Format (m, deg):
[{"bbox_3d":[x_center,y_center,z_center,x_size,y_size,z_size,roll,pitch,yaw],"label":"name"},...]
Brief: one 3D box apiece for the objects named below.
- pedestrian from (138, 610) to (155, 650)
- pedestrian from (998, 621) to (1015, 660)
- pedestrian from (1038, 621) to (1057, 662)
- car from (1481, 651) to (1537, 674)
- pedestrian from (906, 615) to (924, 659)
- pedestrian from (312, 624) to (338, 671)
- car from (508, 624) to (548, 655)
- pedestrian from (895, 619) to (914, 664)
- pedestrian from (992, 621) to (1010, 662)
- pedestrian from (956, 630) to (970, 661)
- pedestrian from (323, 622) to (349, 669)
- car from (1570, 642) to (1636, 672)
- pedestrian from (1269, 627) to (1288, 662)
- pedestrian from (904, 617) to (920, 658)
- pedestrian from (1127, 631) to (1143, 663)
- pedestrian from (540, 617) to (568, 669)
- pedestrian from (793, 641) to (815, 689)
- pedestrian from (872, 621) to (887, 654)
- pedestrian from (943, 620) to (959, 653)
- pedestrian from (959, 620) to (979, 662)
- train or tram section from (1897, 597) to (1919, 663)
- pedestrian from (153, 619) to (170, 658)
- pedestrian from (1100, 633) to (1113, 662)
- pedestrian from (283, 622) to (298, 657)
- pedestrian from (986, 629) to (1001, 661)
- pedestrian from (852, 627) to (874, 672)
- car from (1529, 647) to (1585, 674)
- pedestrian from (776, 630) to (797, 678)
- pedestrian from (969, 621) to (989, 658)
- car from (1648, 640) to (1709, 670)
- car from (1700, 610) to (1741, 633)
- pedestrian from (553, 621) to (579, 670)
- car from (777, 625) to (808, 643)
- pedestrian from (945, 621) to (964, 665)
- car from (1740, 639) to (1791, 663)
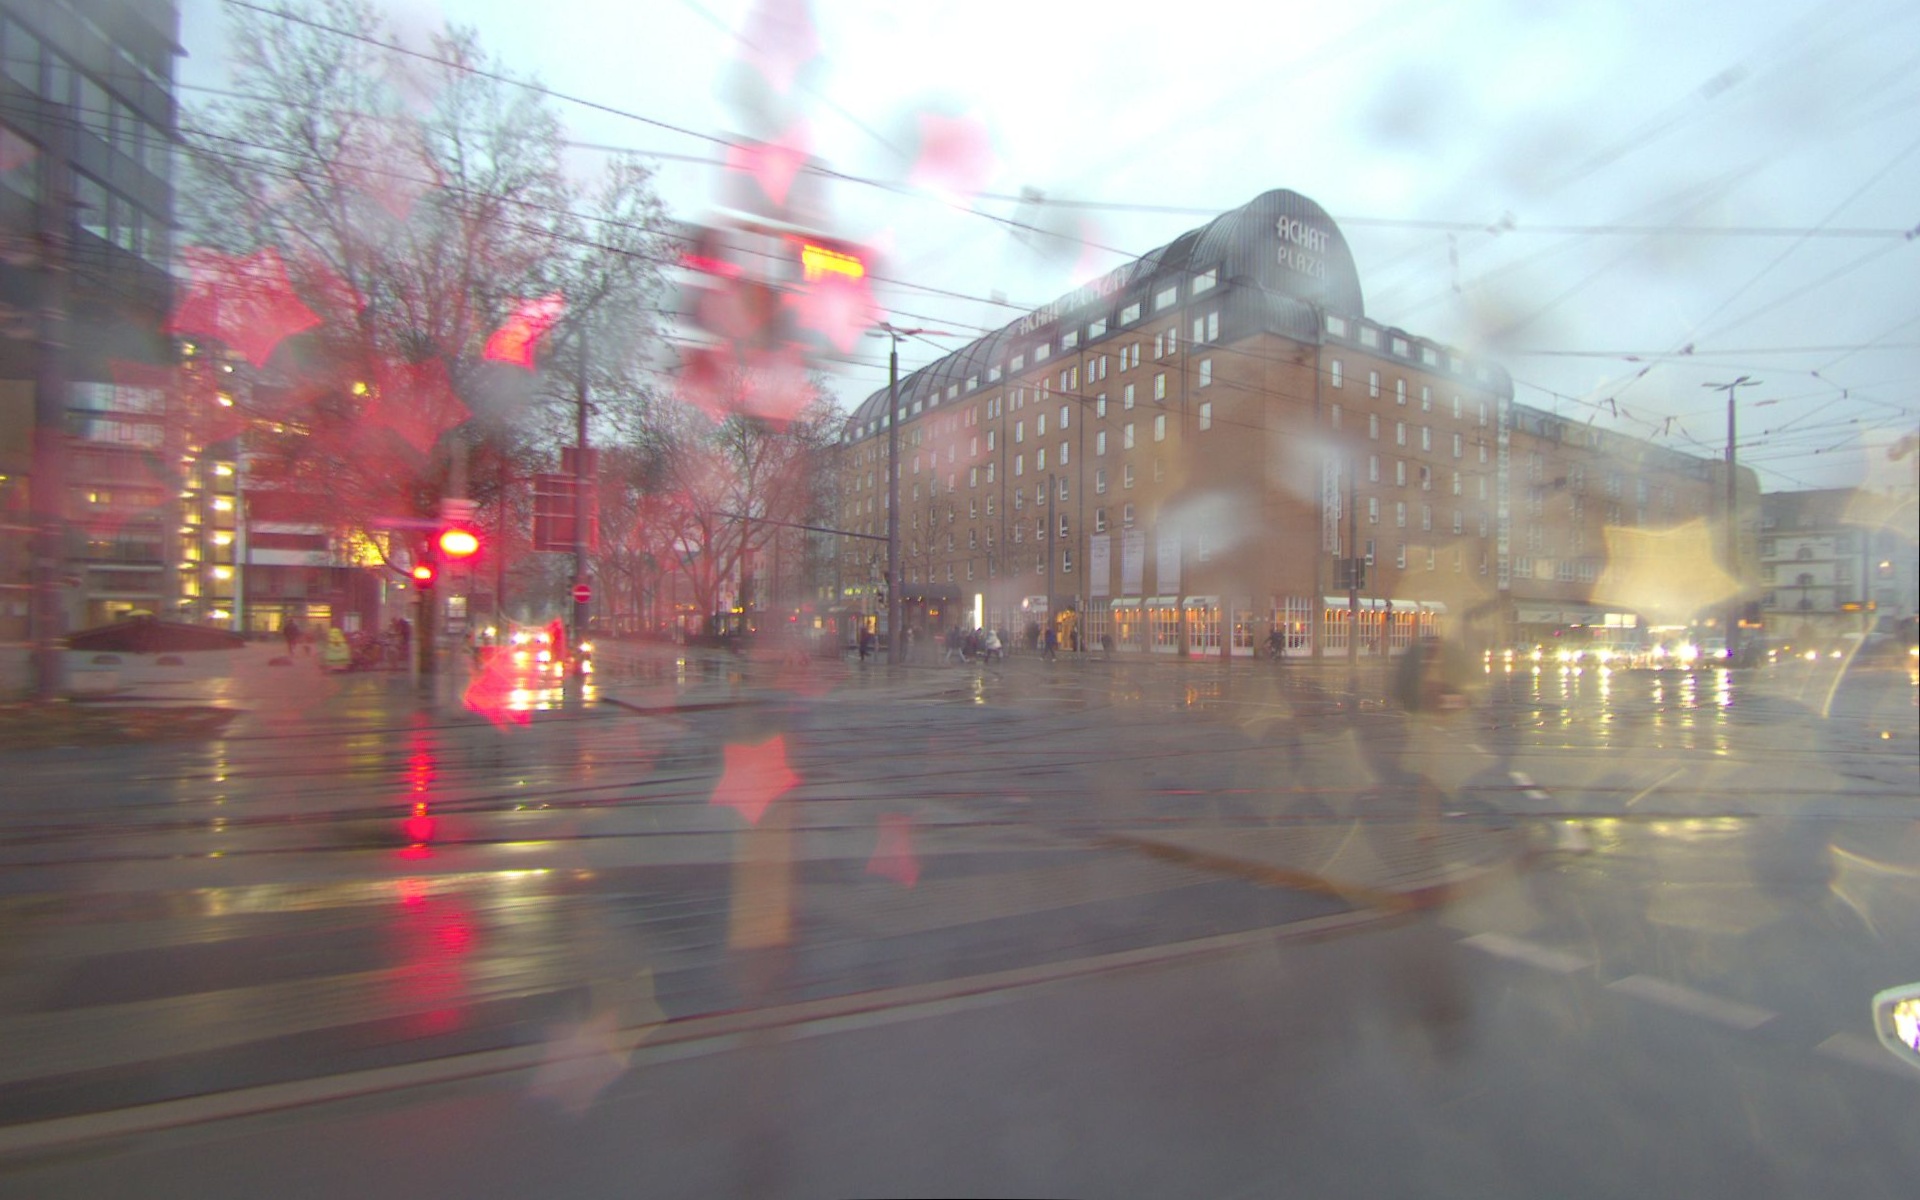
[{"bbox_3d":[-36.460,1.363,45.031,0.440,1.774,0.650,1,-1,-26],"label":"pedestrian"},{"bbox_3d":[2.398,2.103,52.098,0.746,2.040,0.706,1,-2,-11],"label":"pedestrian"},{"bbox_3d":[4.489,2.129,51.514,0.749,2.040,0.703,1,-2,-26],"label":"pedestrian"},{"bbox_3d":[35.356,3.995,64.636,4.188,1.339,1.600,2,-2,-37],"label":"car"},{"bbox_3d":[-2.153,1.759,47.742,0.746,2.040,0.706,1,-2,-11],"label":"pedestrian"},{"bbox_3d":[-23.403,1.759,37.035,0.551,1.706,0.596,0,-1,30],"label":"pedestrian"},{"bbox_3d":[-30.723,2.790,71.410,1.901,2.165,4.038,1,-2,-34],"label":"car"},{"bbox_3d":[-2.524,1.878,45.920,0.746,2.040,0.706,1,-2,-11],"label":"pedestrian"},{"bbox_3d":[2.034,2.054,49.834,0.746,2.040,0.706,1,-2,-11],"label":"pedestrian"},{"bbox_3d":[0.152,2.299,50.490,0.566,1.558,0.518,1,-1,-18],"label":"pedestrian"},{"bbox_3d":[-22.832,1.644,36.758,0.551,1.706,0.596,0,-1,31],"label":"pedestrian"},{"bbox_3d":[35.171,3.090,54.913,4.160,1.515,1.657,2,-2,-36],"label":"car"},{"bbox_3d":[18.603,2.588,58.661,0.919,2.040,0.758,0,-2,30],"label":"pedestrian"},{"bbox_3d":[-2.309,1.812,48.389,0.656,1.984,0.528,1,-1,-14],"label":"pedestrian"},{"bbox_3d":[8.663,2.321,49.714,0.566,1.558,0.518,1,-1,-18],"label":"pedestrian"},{"bbox_3d":[-16.128,1.691,39.886,0.697,2.040,0.756,-1,-2,40],"label":"pedestrian"},{"bbox_3d":[-6.744,2.783,43.366,0.749,2.040,0.703,1,-2,-24],"label":"pedestrian"},{"bbox_3d":[-5.040,2.325,62.796,0.711,2.040,0.741,2,-2,-29],"label":"pedestrian"},{"bbox_3d":[-0.568,2.266,62.637,0.711,2.040,0.741,2,-2,-29],"label":"pedestrian"},{"bbox_3d":[0.443,2.010,49.413,0.700,2.040,0.753,2,-2,-32],"label":"pedestrian"},{"bbox_3d":[58.970,1.845,59.478,12.139,3.637,2.929,2,0,-37],"label":"train or tram section"},{"bbox_3d":[-35.967,1.730,45.228,0.440,1.774,0.650,1,-1,-26],"label":"pedestrian"},{"bbox_3d":[8.179,2.645,56.010,0.566,1.558,0.518,1,-1,-18],"label":"pedestrian"},{"bbox_3d":[-32.822,1.920,49.262,0.555,1.706,0.593,1,-1,-30],"label":"pedestrian"},{"bbox_3d":[1.634,2.195,48.853,0.566,1.558,0.518,1,-1,-18],"label":"pedestrian"},{"bbox_3d":[-4.495,2.286,46.527,0.762,2.040,0.707,0,-2,22],"label":"pedestrian"},{"bbox_3d":[34.627,3.475,58.240,3.561,1.515,1.571,2,-2,-36],"label":"car"},{"bbox_3d":[-7.442,2.322,43.089,0.749,2.040,0.703,1,-2,-24],"label":"pedestrian"},{"bbox_3d":[1.001,2.104,53.055,0.776,1.925,0.833,1,-2,-29],"label":"pedestrian"},{"bbox_3d":[44.458,3.378,62.115,4.662,1.732,1.815,2,-2,-37],"label":"car"},{"bbox_3d":[70.292,1.982,92.845,3.963,2.040,1.979,2,0,-37],"label":"car"},{"bbox_3d":[-16.671,1.928,42.475,0.697,2.040,0.756,-1,-2,40],"label":"pedestrian"},{"bbox_3d":[-17.495,3.515,104.740,2.082,1.806,3.678,2,-2,-28],"label":"car"},{"bbox_3d":[-0.259,2.006,47.281,0.746,2.040,0.799,1,-2,-11],"label":"pedestrian"},{"bbox_3d":[48.851,3.079,60.898,3.514,1.372,1.669,2,-1,-38],"label":"car"}]
